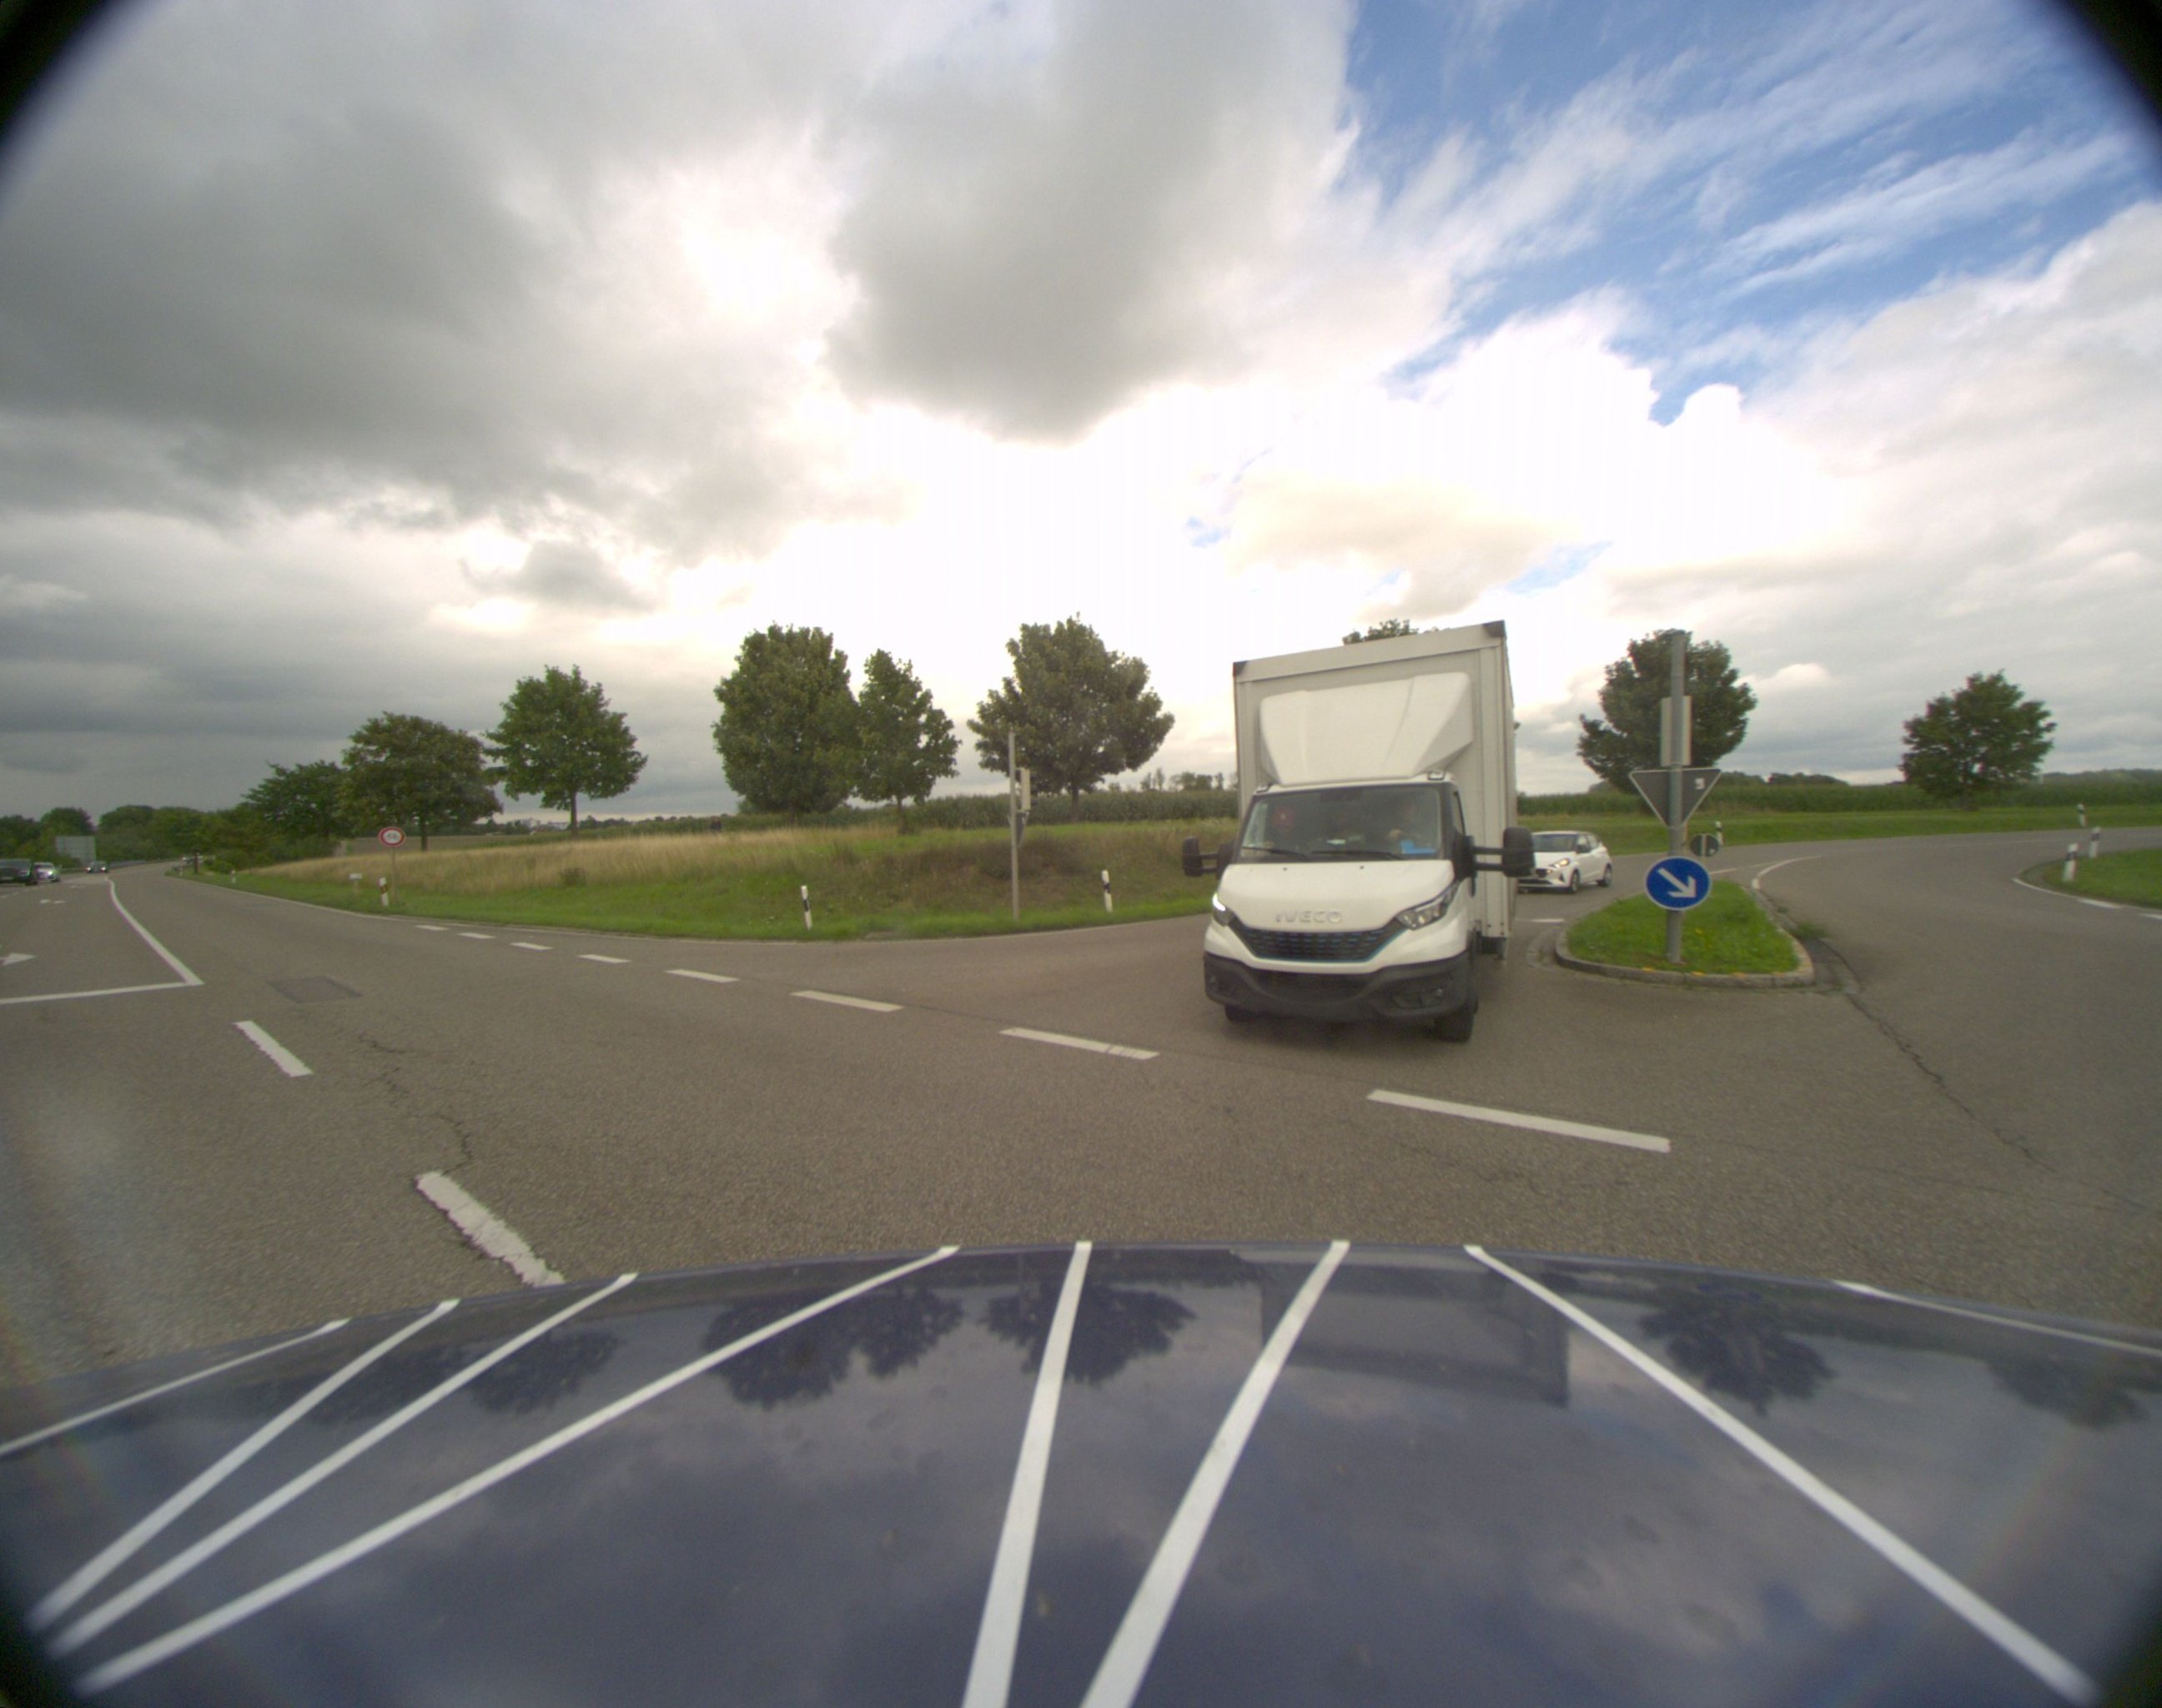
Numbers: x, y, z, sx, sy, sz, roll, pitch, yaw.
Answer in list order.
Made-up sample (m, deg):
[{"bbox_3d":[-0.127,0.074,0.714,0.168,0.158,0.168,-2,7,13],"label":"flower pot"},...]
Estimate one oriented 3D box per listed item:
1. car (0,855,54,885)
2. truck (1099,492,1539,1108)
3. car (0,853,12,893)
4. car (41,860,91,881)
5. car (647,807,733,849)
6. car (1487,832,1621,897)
[{"bbox_3d":[-74.621,1.082,53.700,4.514,2.002,2.174,0,2,39],"label":"car"},{"bbox_3d":[3.718,-0.380,9.102,2.831,3.742,8.816,0,1,32],"label":"truck"},{"bbox_3d":[-57.786,1.009,39.523,4.666,2.002,2.174,0,2,39],"label":"car"},{"bbox_3d":[-83.072,1.320,62.183,4.742,1.587,2.174,0,1,34],"label":"car"},{"bbox_3d":[-20.256,-1.325,39.386,3.989,2.003,2.003,-1,3,30],"label":"car"},{"bbox_3d":[12.112,0.203,19.376,4.007,1.444,1.805,-2,2,-41],"label":"car"}]
